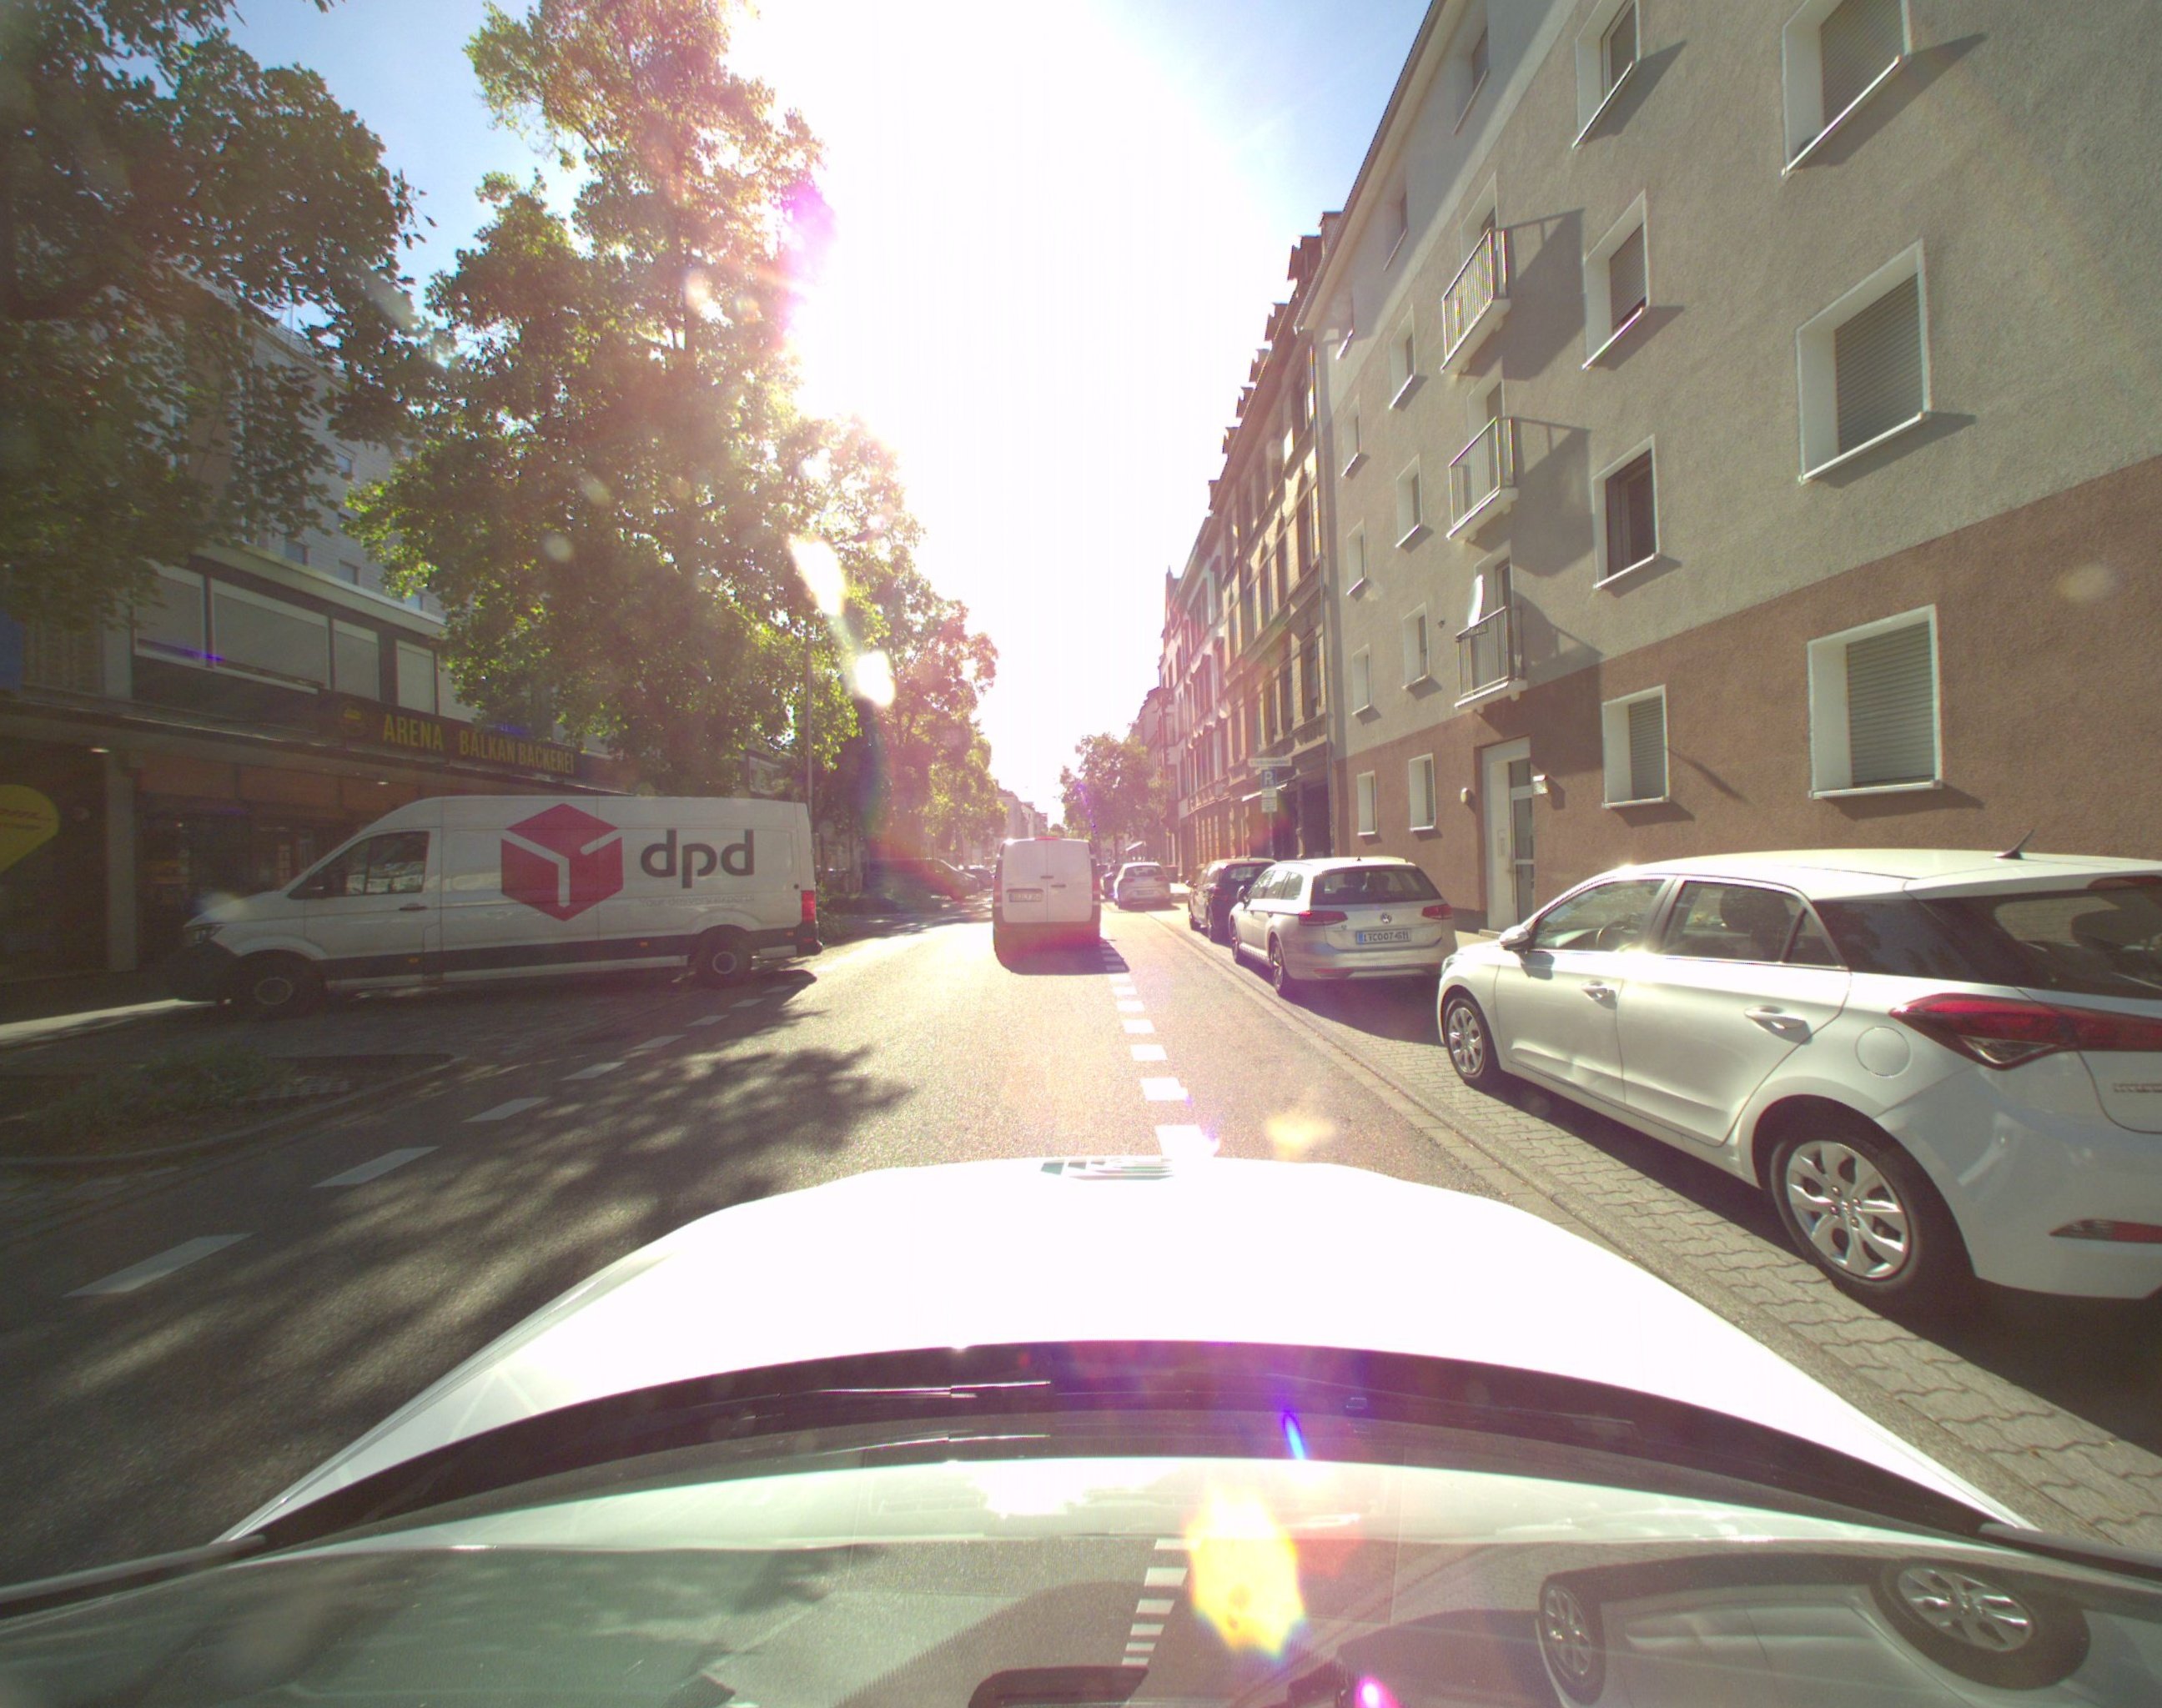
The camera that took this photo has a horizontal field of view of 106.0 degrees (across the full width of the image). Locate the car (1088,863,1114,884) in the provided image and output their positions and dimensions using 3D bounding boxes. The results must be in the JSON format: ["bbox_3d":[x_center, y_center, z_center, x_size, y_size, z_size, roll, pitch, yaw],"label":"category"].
[{"bbox_3d":[1.461,1.401,59.791,1.632,1.476,3.576,-2,-1,-3],"label":"car"}]

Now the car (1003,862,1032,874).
[{"bbox_3d":[-9.019,1.946,115.659,3.980,1.640,1.997,-1,-1,-5],"label":"car"}]

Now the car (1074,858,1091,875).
[{"bbox_3d":[0.161,1.416,93.909,1.811,1.921,4.640,-2,-1,-2],"label":"car"}]

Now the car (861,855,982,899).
[{"bbox_3d":[-7.428,1.072,38.350,5.278,1.974,2.014,0,-1,-2],"label":"car"}]

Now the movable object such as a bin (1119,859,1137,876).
[{"bbox_3d":[3.992,1.155,68.776,1.028,1.348,1.116,-3,-1,38],"label":"movable object such as a bin"}]

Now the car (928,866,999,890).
[{"bbox_3d":[-7.519,1.537,52.421,4.290,1.460,1.762,0,-1,1],"label":"car"}]

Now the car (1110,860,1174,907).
[{"bbox_3d":[1.976,0.946,27.588,1.734,1.451,3.997,-2,-1,-2],"label":"car"}]

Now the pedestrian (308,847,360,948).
[{"bbox_3d":[-13.581,0.781,14.812,0.484,1.782,0.427,-2,-1,-4],"label":"pedestrian"}]

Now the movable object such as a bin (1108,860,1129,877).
[{"bbox_3d":[3.098,1.187,67.803,1.279,1.348,1.095,-2,-1,-43],"label":"movable object such as a bin"}]

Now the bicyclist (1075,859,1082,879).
[{"bbox_3d":[-0.192,1.120,61.432,0.438,1.508,0.496,-5,0,-2],"label":"bicyclist"}]

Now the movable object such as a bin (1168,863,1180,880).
[{"bbox_3d":[5.791,1.087,50.805,0.636,1.069,0.639,-2,-1,-2],"label":"movable object such as a bin"}]

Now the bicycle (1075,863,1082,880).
[{"bbox_3d":[-0.172,1.316,61.447,0.474,1.274,1.217,-2,-1,-2],"label":"bicycle"}]

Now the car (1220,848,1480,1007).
[{"bbox_3d":[2.984,0.731,10.132,1.779,1.460,4.517,-3,-1,1],"label":"car"}]

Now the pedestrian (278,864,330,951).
[{"bbox_3d":[-13.559,0.927,14.223,0.467,1.473,0.420,-2,-1,-4],"label":"pedestrian"}]

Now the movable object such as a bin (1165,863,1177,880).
[{"bbox_3d":[5.749,1.103,51.960,0.636,1.069,0.632,-2,-1,-2],"label":"movable object such as a bin"}]

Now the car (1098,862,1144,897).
[{"bbox_3d":[1.752,1.101,36.858,1.734,1.451,4.304,-2,-1,-2],"label":"car"}]

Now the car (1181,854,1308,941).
[{"bbox_3d":[3.108,0.781,16.191,1.704,1.480,3.708,-2,-1,-1],"label":"car"}]

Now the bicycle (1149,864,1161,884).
[{"bbox_3d":[4.582,1.228,50.335,0.534,1.148,2.125,-7,-2,2],"label":"bicycle"}]

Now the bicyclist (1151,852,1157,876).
[{"bbox_3d":[4.526,0.603,50.338,0.359,1.477,0.531,-1,-1,3],"label":"bicyclist"}]

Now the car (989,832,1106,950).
[{"bbox_3d":[-0.801,0.619,15.786,1.918,1.914,4.877,0,0,-6],"label":"car"}]

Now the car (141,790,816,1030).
[{"bbox_3d":[-7.096,0.516,10.727,6.616,2.474,1.983,-1,-1,-26],"label":"car"}]

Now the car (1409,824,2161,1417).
[{"bbox_3d":[3.344,0.683,4.053,1.727,1.486,3.791,-3,-1,-2],"label":"car"}]
